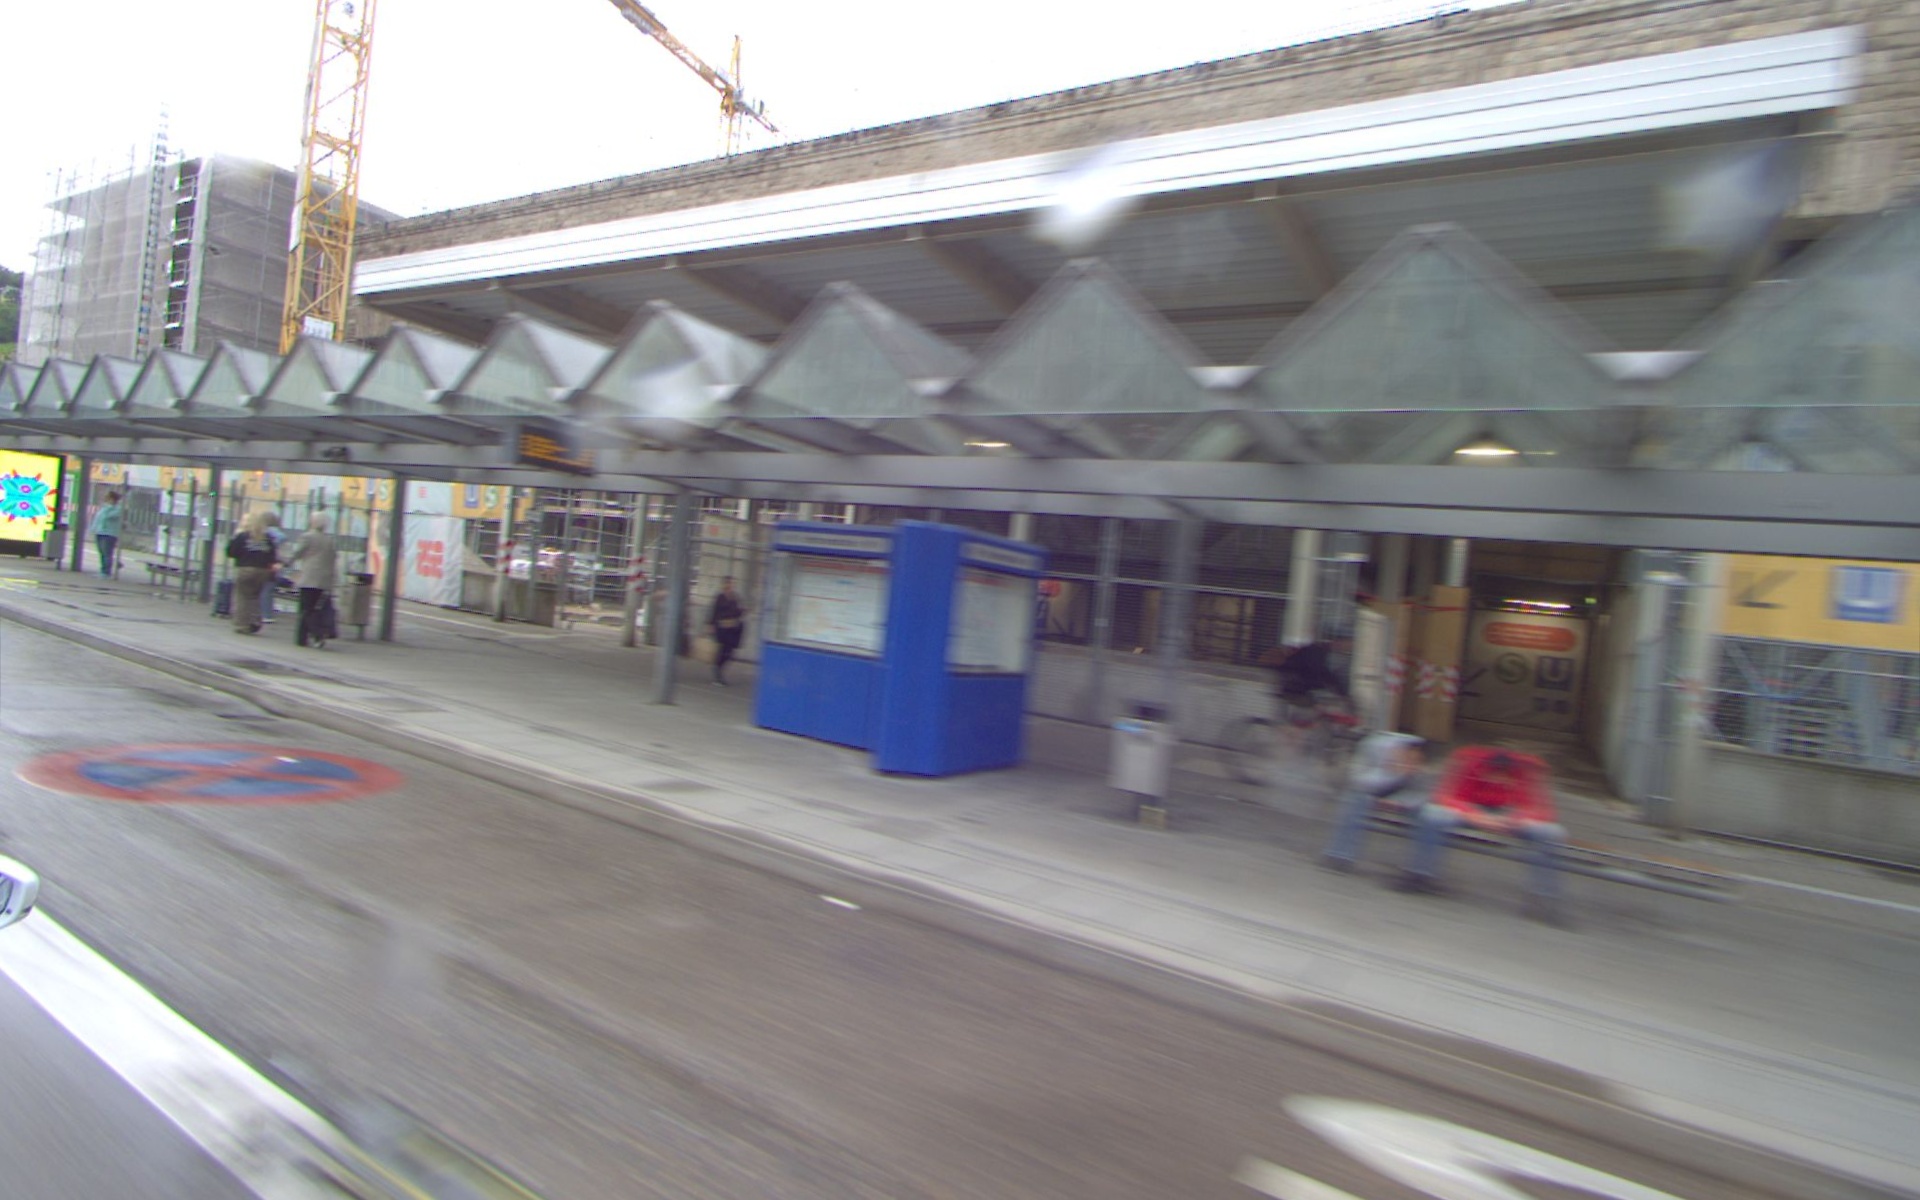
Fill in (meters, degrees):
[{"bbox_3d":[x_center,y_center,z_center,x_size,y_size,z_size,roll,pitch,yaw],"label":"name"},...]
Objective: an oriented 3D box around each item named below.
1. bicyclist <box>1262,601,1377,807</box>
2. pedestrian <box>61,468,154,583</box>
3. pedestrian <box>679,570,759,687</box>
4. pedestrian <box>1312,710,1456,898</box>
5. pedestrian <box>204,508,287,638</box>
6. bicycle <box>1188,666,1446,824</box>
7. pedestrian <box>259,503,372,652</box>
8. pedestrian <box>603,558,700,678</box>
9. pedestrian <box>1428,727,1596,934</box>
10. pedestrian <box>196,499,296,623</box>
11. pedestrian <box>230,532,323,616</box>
[{"bbox_3d":[3.813,1.070,10.646,0.804,2.006,0.823,7,1,30],"label":"bicyclist"},{"bbox_3d":[-16.733,-1.437,19.776,0.911,2.075,0.803,7,0,-8],"label":"pedestrian"},{"bbox_3d":[-3.559,0.418,14.857,0.717,1.628,0.707,7,2,32],"label":"pedestrian"},{"bbox_3d":[2.909,1.351,6.881,0.697,1.078,0.728,7,1,31],"label":"pedestrian"},{"bbox_3d":[-9.278,-0.350,13.059,0.717,1.585,0.521,7,1,31],"label":"pedestrian"},{"bbox_3d":[3.751,1.466,10.660,2.365,1.213,0.816,7,1,30],"label":"bicycle"},{"bbox_3d":[-7.946,-0.271,12.410,0.808,1.714,0.763,7,1,31],"label":"pedestrian"},{"bbox_3d":[-4.512,0.275,14.737,0.732,1.626,0.907,7,-1,32],"label":"pedestrian"},{"bbox_3d":[3.553,1.431,6.481,0.795,1.078,0.728,7,1,32],"label":"pedestrian"},{"bbox_3d":[-10.583,-0.569,14.911,0.791,1.680,0.809,7,0,31],"label":"pedestrian"},{"bbox_3d":[-11.555,-0.427,17.018,0.827,1.245,0.915,7,-1,32],"label":"pedestrian"}]
